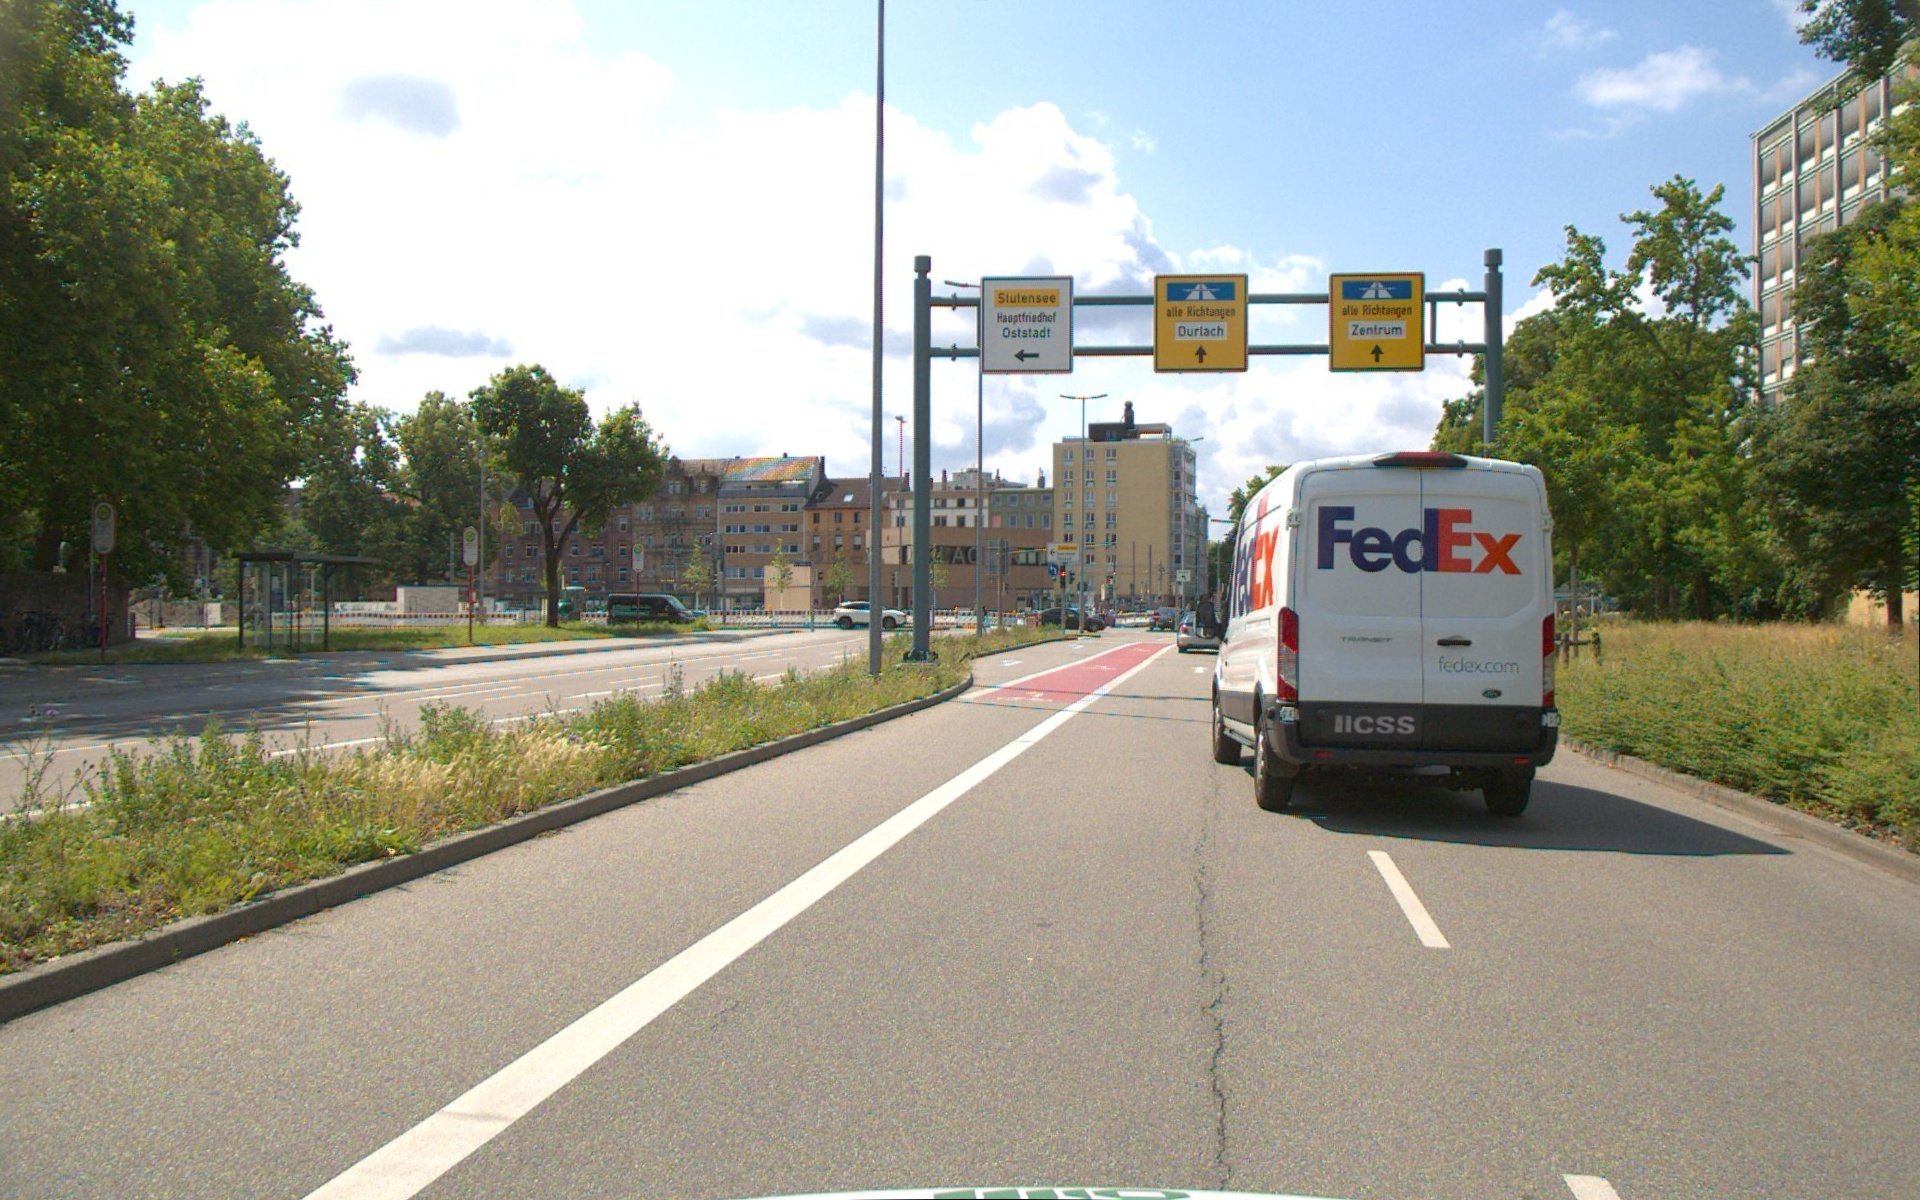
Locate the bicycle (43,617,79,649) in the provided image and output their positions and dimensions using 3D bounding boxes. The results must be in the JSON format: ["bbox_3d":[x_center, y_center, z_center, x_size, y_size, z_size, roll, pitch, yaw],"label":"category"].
[{"bbox_3d":[-26.533,0.961,48.818,0.444,0.918,1.788,0,0,-12],"label":"bicycle"}]

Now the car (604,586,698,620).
[{"bbox_3d":[-17.451,0.151,93.501,4.902,1.912,1.930,0,0,5],"label":"car"}]

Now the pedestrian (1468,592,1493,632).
[{"bbox_3d":[20.517,0.473,65.190,0.827,1.566,0.836,0,0,8],"label":"pedestrian"}]

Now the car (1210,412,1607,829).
[{"bbox_3d":[3.338,0.123,13.606,2.095,2.699,5.707,0,0,4],"label":"car"}]

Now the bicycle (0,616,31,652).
[{"bbox_3d":[-25.173,0.886,43.810,0.534,0.918,1.660,0,0,-12],"label":"bicycle"}]

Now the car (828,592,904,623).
[{"bbox_3d":[-5.555,0.433,98.124,4.265,1.825,2.001,0,-1,4],"label":"car"}]

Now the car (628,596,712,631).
[{"bbox_3d":[-17.338,0.800,99.021,4.531,2.049,2.100,0,-1,4],"label":"car"}]

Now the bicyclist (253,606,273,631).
[{"bbox_3d":[-41.759,1.113,99.054,0.948,1.500,0.551,0,0,1],"label":"bicyclist"}]

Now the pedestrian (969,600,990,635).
[{"bbox_3d":[0.923,0.815,77.051,0.860,1.587,0.552,0,0,-20],"label":"pedestrian"}]

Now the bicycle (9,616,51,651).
[{"bbox_3d":[-25.572,0.914,45.484,0.534,0.918,1.660,0,0,-12],"label":"bicycle"}]

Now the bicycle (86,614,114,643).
[{"bbox_3d":[-28.172,0.911,54.197,0.535,0.918,1.657,0,0,-17],"label":"bicycle"}]

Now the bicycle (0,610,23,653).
[{"bbox_3d":[-24.545,0.787,42.228,0.533,1.070,1.620,0,0,-9],"label":"bicycle"}]

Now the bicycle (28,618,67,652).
[{"bbox_3d":[-25.987,0.994,47.124,0.534,0.918,1.660,0,0,-12],"label":"bicycle"}]

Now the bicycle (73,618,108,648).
[{"bbox_3d":[-27.453,1.038,52.248,0.534,0.918,1.660,0,0,-12],"label":"bicycle"}]

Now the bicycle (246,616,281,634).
[{"bbox_3d":[-41.712,1.500,99.046,1.881,1.048,0.548,0,0,1],"label":"bicycle"}]
